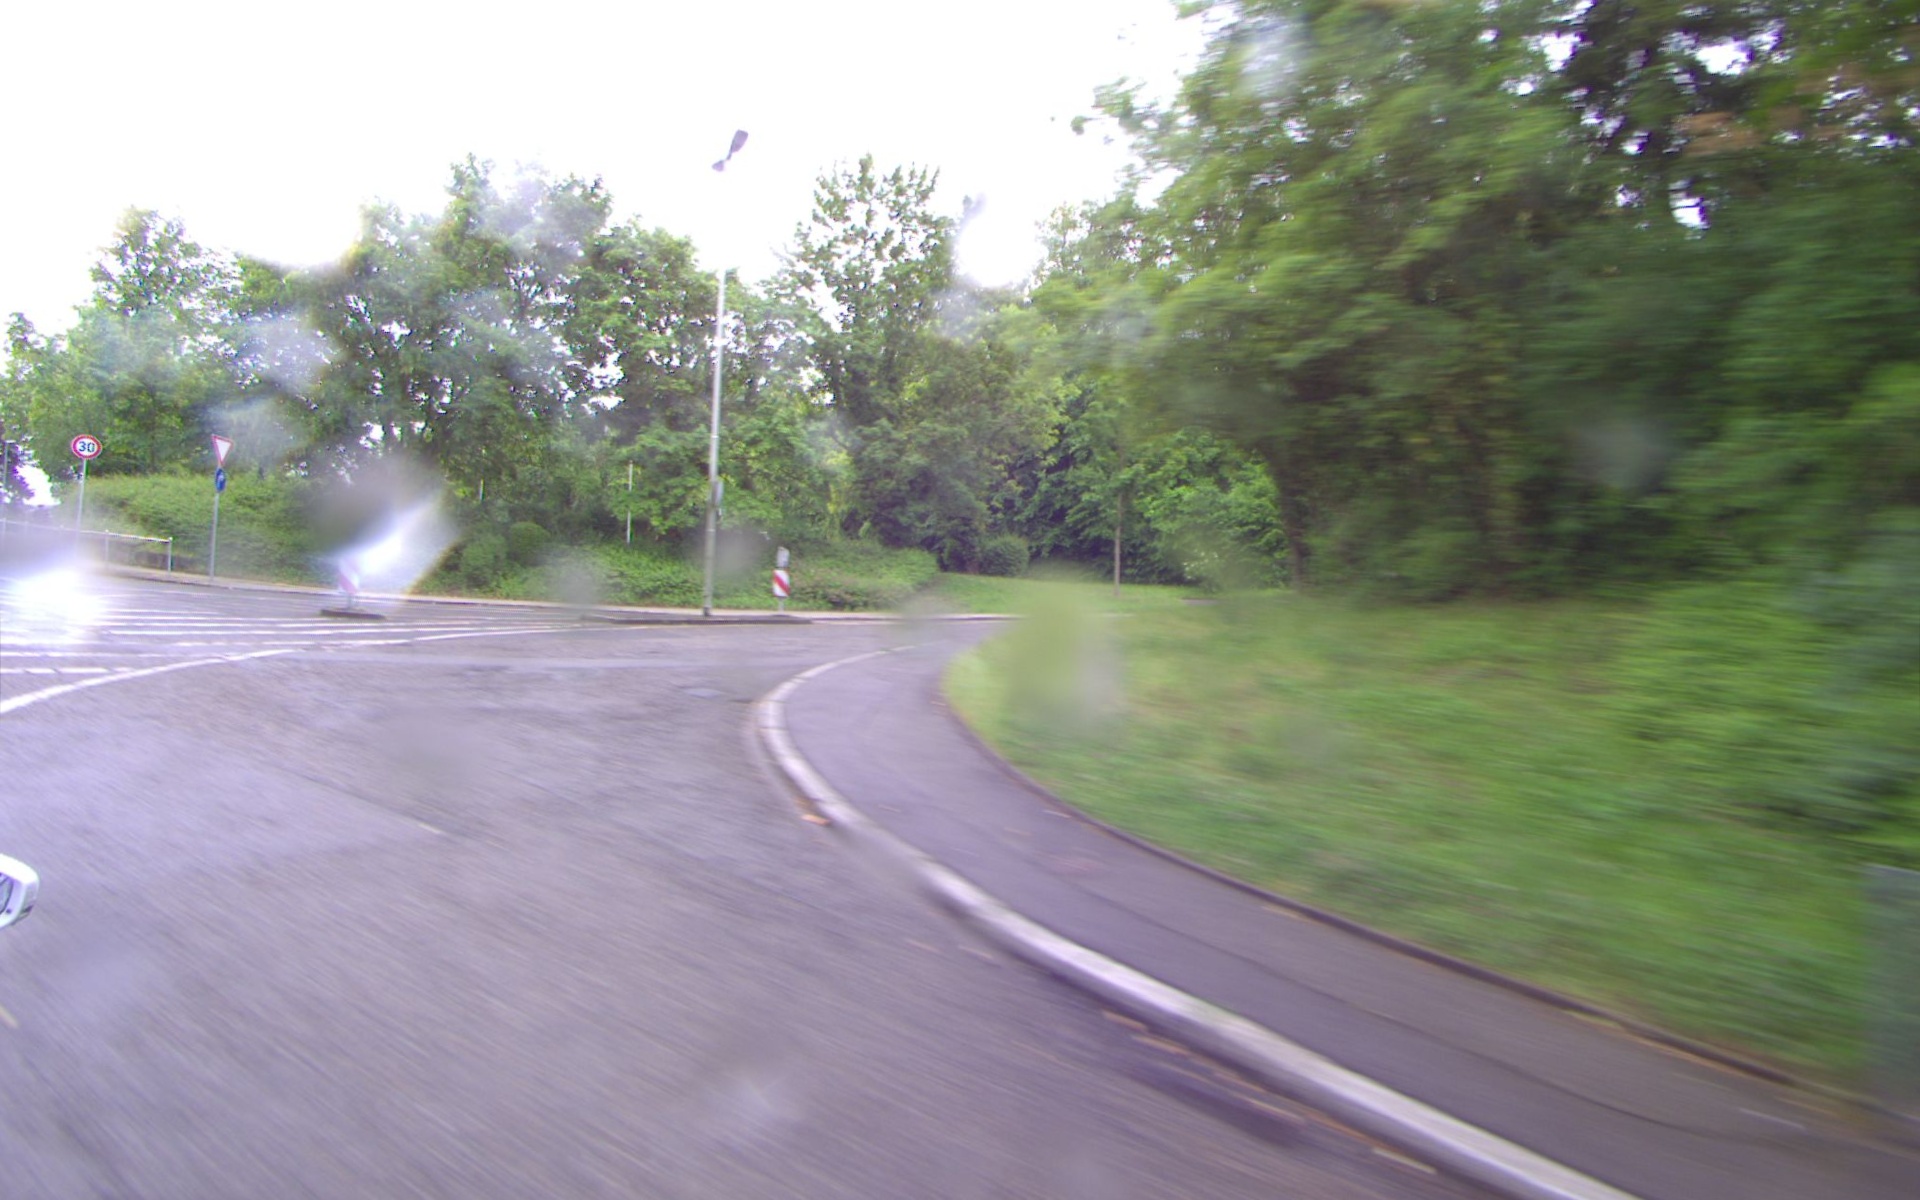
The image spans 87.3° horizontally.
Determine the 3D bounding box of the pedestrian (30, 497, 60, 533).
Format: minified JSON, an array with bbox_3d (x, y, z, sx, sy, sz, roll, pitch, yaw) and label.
[{"bbox_3d":[-47.509,-4.397,52.222,1.080,1.745,1.151,2,2,-45],"label":"pedestrian"}]
